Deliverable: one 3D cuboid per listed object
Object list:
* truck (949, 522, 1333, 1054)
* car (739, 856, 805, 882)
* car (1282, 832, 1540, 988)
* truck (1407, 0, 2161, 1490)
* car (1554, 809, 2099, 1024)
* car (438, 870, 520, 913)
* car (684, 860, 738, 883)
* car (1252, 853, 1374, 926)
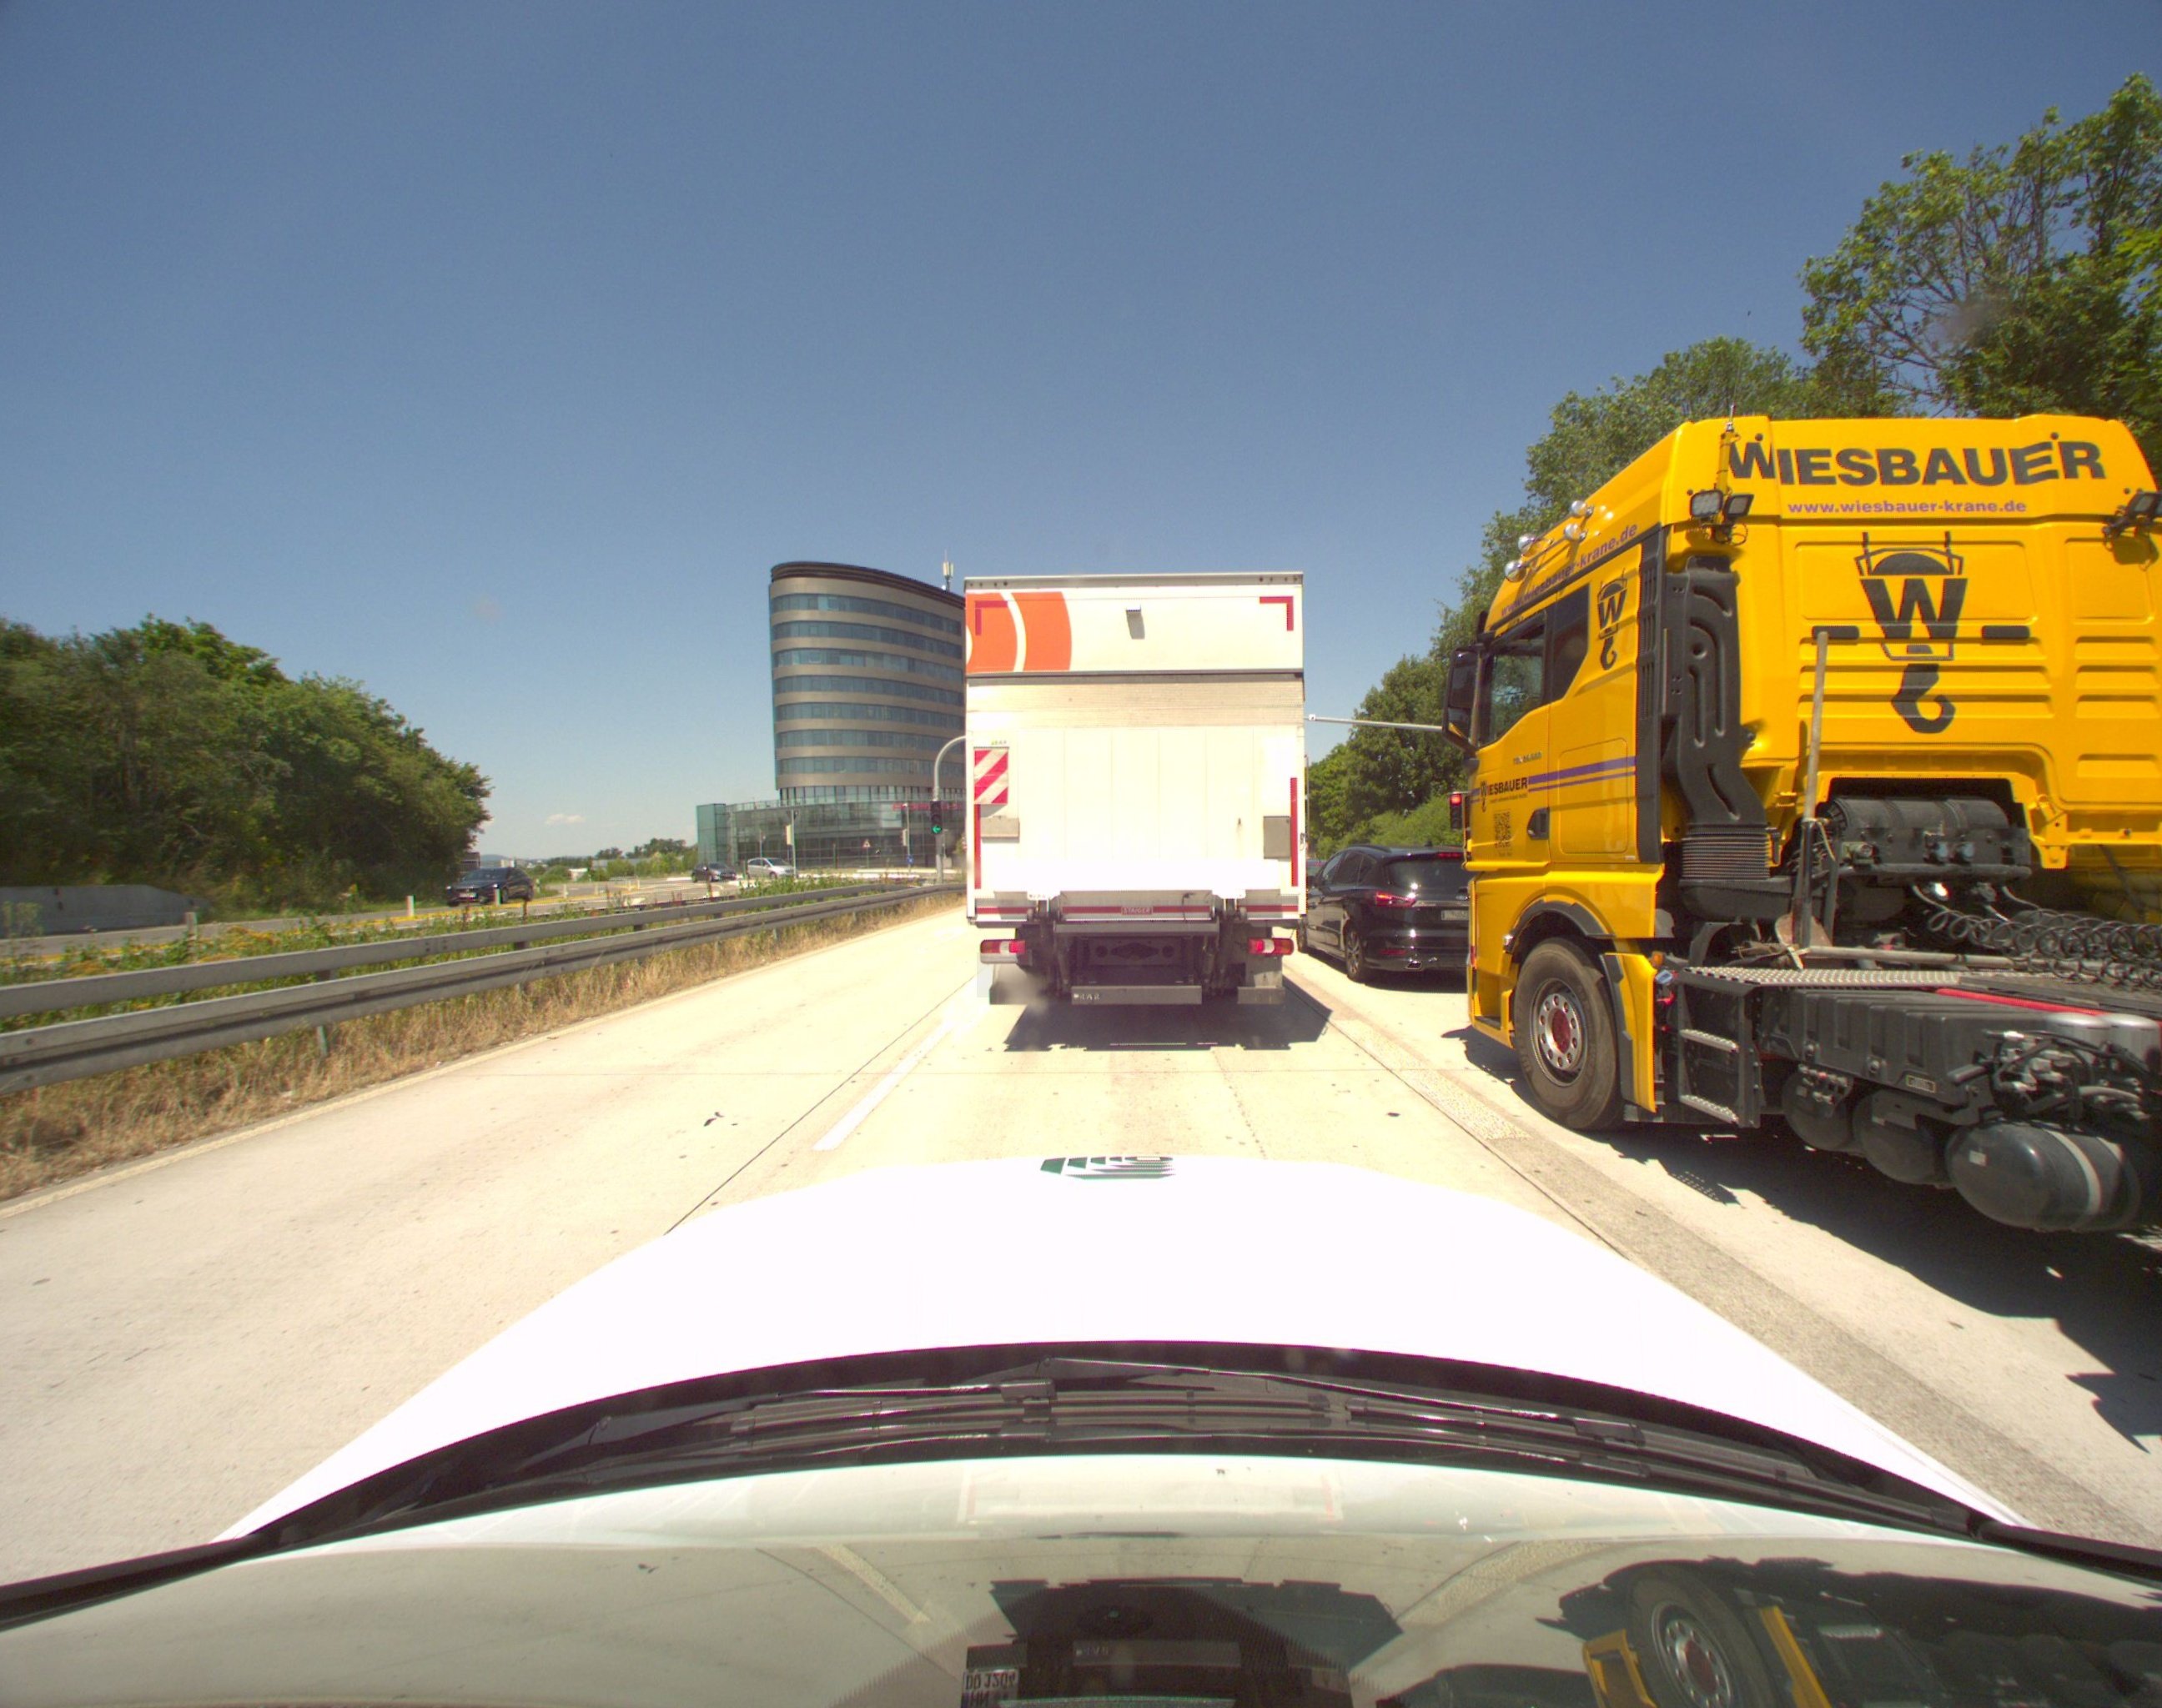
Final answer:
[{"bbox_3d":[0.579,-0.448,10.637,2.759,3.860,9.373,-1,-1,2],"label":"truck"},{"bbox_3d":[-20.651,1.016,54.419,4.274,1.595,1.788,-3,-2,29],"label":"car"},{"bbox_3d":[4.073,0.617,10.969,1.776,1.639,4.650,0,-1,3],"label":"car"},{"bbox_3d":[3.919,-0.468,2.362,3.003,3.772,7.470,0,0,0],"label":"truck"},{"bbox_3d":[7.725,0.543,9.304,1.763,1.807,4.789,0,-1,-2],"label":"car"},{"bbox_3d":[-22.967,1.383,31.229,1.720,1.485,4.258,0,-1,-25],"label":"car"},{"bbox_3d":[-26.806,1.285,58.972,4.273,1.456,1.708,-3,-2,37],"label":"car"},{"bbox_3d":[5.017,0.714,18.231,1.759,1.410,4.615,0,-1,5],"label":"car"}]
